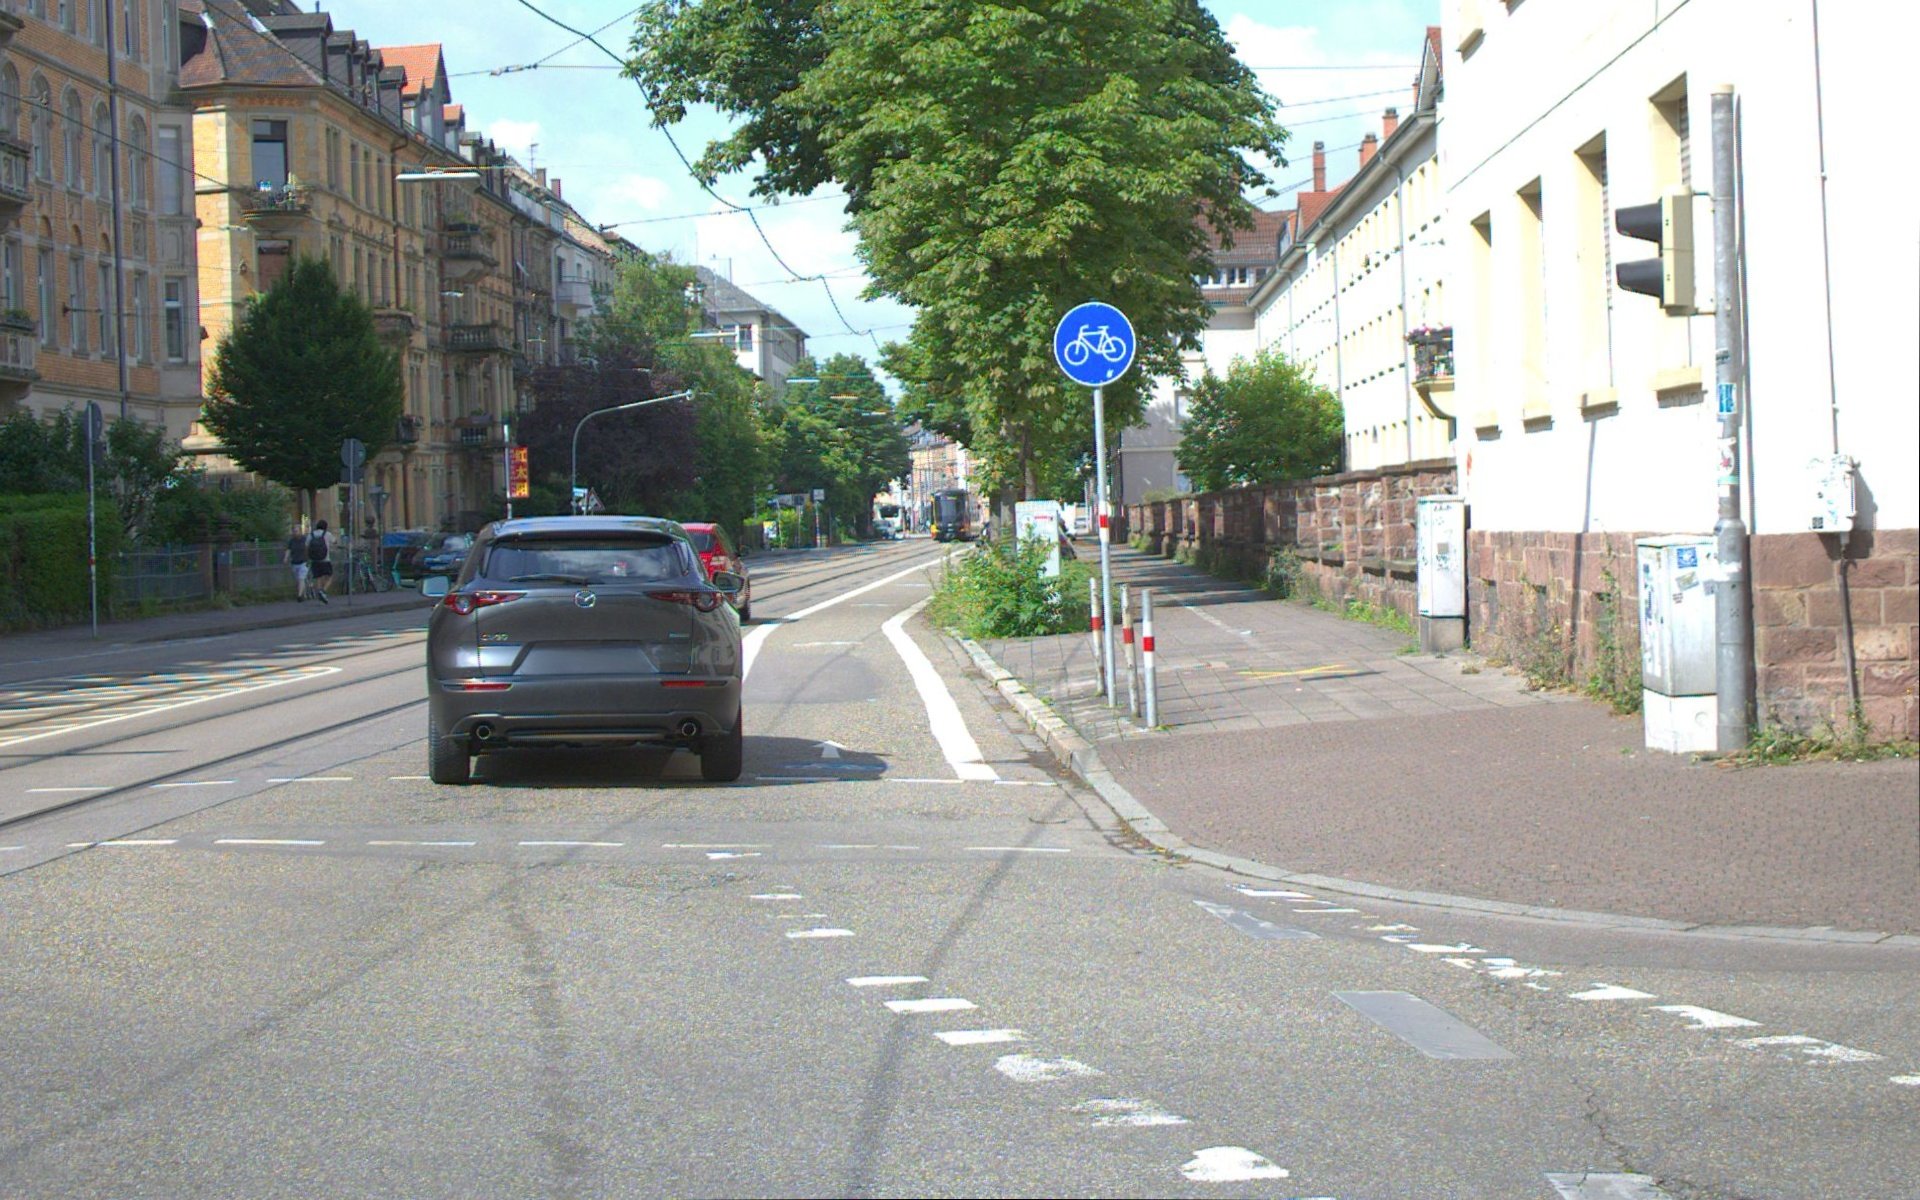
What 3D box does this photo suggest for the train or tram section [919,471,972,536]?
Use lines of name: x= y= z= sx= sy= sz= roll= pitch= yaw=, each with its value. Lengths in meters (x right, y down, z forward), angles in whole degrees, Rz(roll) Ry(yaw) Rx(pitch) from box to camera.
train or tram section: x=-0.922 y=-6.316 z=226.696 sx=2.997 sy=3.970 sz=13.809 roll=-2 pitch=1 yaw=1

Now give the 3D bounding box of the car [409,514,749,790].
car: x=-2.403 y=0.234 z=20.873 sx=1.781 sy=1.509 sz=4.001 roll=0 pitch=1 yaw=-10

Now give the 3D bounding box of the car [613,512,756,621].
car: x=-3.875 y=-0.502 z=48.907 sx=1.775 sy=1.459 sz=3.843 roll=0 pitch=2 yaw=-1

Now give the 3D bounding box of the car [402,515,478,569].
car: x=-16.366 y=-1.835 z=108.347 sx=1.657 sy=1.590 sz=3.930 roll=-2 pitch=2 yaw=1

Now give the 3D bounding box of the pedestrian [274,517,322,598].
pedestrian: x=-14.108 y=-0.905 z=73.284 sx=0.788 sy=1.682 sz=0.732 roll=-2 pitch=1 yaw=3

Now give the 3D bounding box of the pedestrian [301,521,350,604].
pedestrian: x=-13.127 y=-0.787 z=71.115 sx=0.788 sy=1.682 sz=0.732 roll=-2 pitch=1 yaw=3

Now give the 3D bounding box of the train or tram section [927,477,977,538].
train or tram section: x=-0.536 y=-6.419 z=240.455 sx=2.997 sy=3.970 sz=13.809 roll=-2 pitch=1 yaw=1
